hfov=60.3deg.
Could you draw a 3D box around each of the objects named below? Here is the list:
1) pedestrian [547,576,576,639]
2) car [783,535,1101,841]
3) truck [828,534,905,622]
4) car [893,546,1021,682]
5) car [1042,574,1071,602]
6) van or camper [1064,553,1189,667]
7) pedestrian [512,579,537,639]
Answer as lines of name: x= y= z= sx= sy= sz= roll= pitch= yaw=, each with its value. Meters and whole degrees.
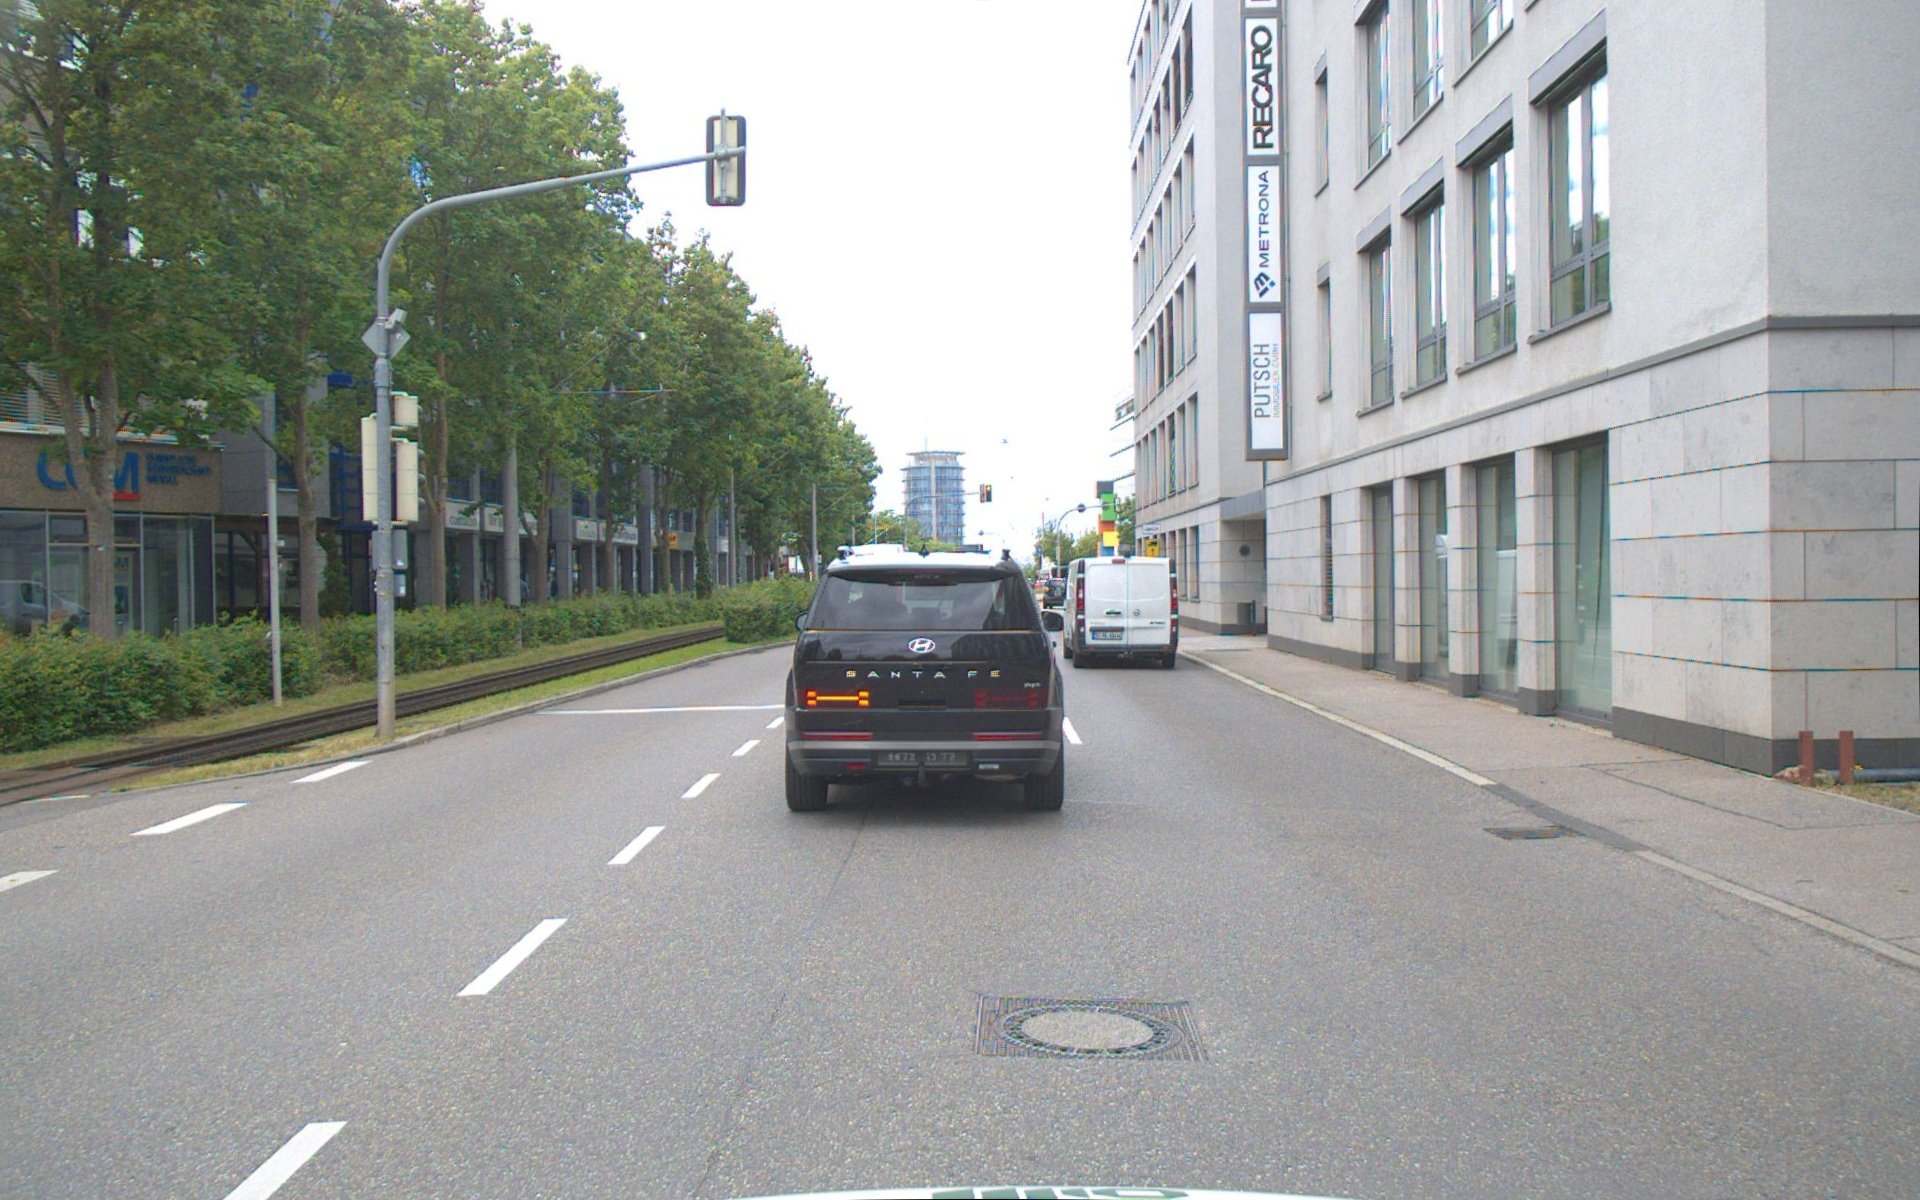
pedestrian: x=-12.658 y=0.238 z=52.499 sx=0.661 sy=1.941 sz=0.622 roll=-3 pitch=0 yaw=1
car: x=-0.258 y=0.508 z=12.160 sx=1.871 sy=1.780 sz=4.393 roll=-2 pitch=0 yaw=-4
truck: x=-3.010 y=-0.731 z=54.542 sx=2.121 sy=2.661 sz=5.796 roll=-2 pitch=1 yaw=0
car: x=-0.138 y=0.187 z=27.526 sx=1.893 sy=2.029 sz=4.533 roll=-1 pitch=1 yaw=-3
car: x=6.014 y=-0.780 z=103.189 sx=1.722 sy=1.637 sz=4.190 roll=-1 pitch=1 yaw=4
van or camper: x=2.991 y=0.134 z=30.567 sx=1.952 sy=1.949 sz=4.332 roll=0 pitch=1 yaw=1
pedestrian: x=-15.188 y=0.310 z=57.699 sx=0.667 sy=2.048 sz=0.571 roll=-2 pitch=0 yaw=1
